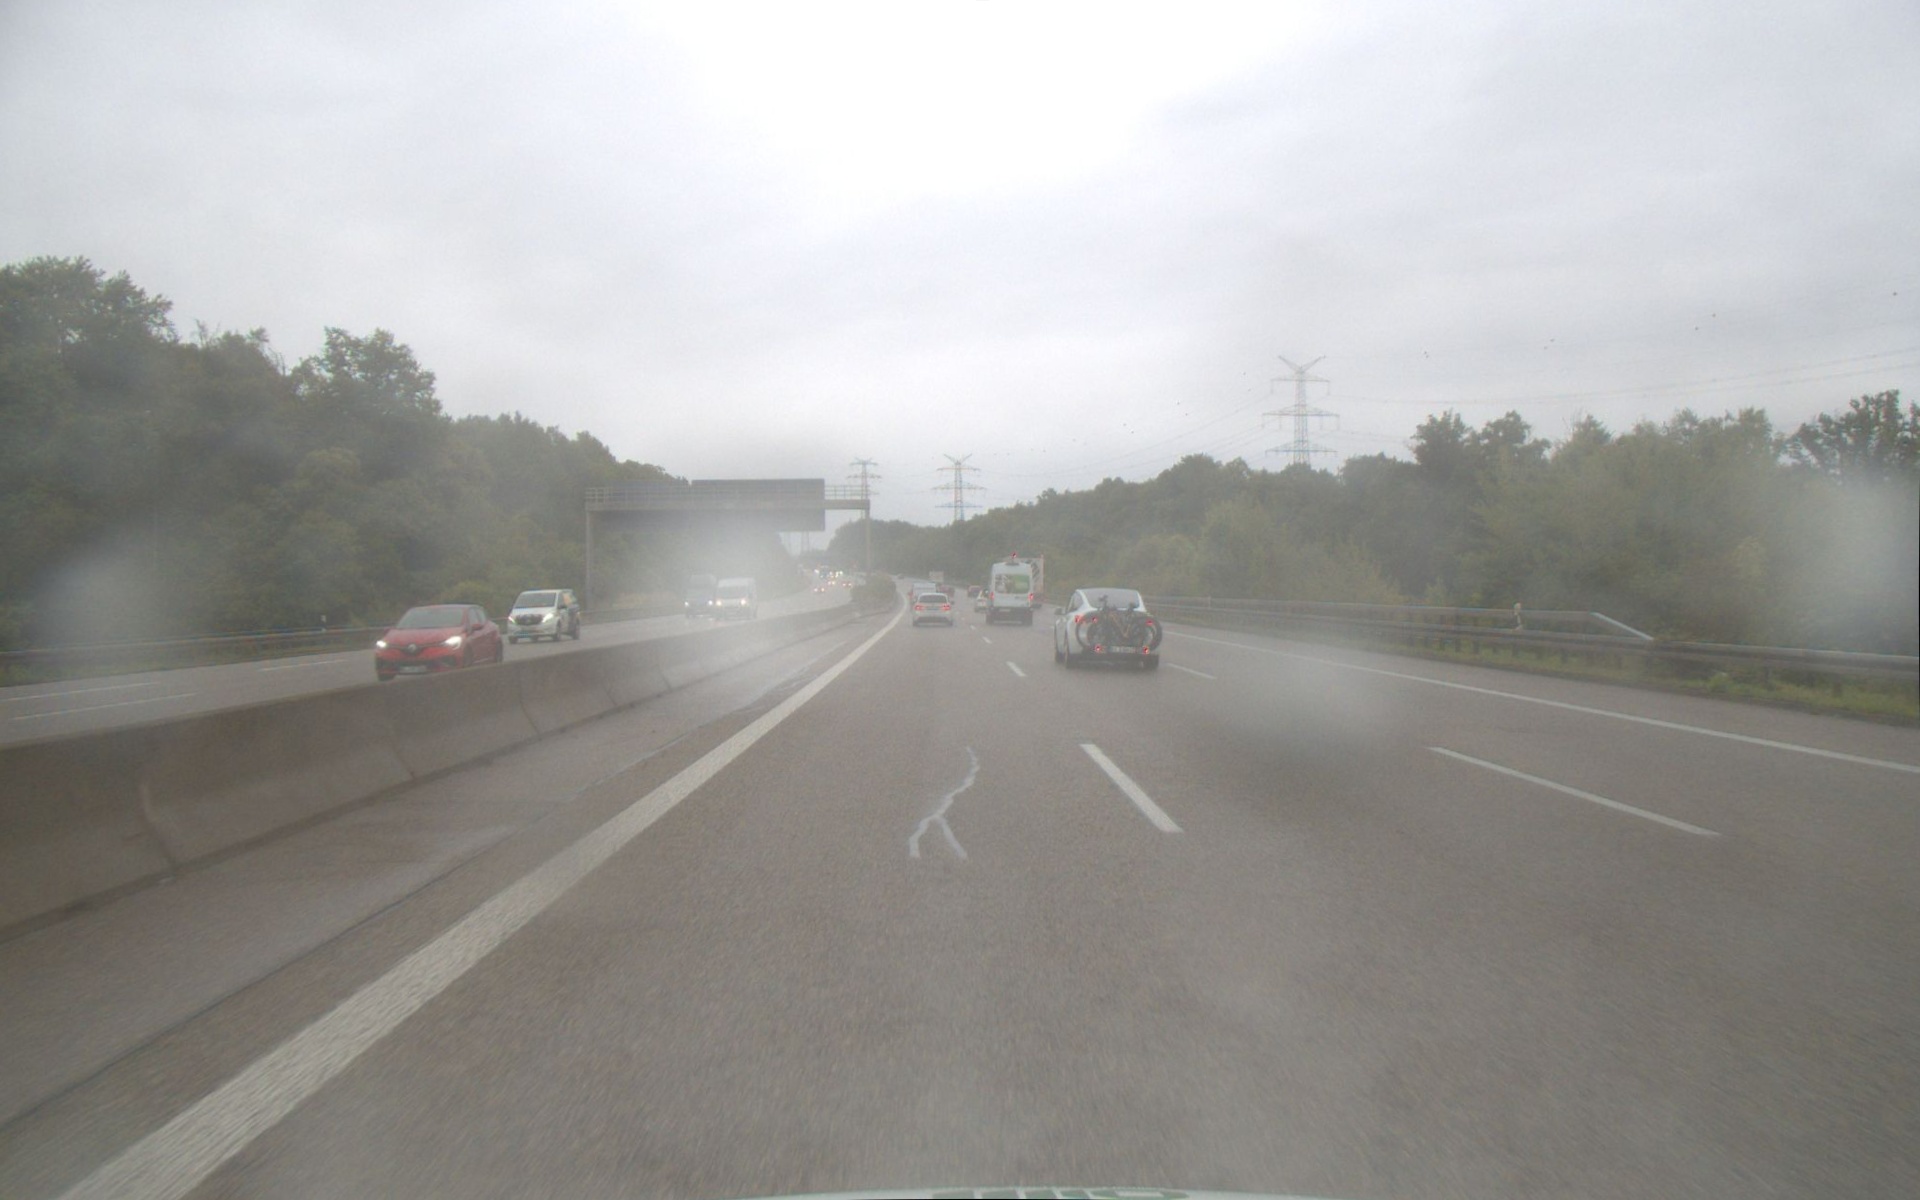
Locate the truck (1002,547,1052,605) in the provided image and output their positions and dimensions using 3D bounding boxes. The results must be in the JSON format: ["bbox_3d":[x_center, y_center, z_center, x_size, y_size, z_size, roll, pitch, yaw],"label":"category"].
[{"bbox_3d":[5.345,-1.885,133.830,3.529,4.408,13.200,0,0,0],"label":"truck"}]

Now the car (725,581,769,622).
[{"bbox_3d":[-12.864,0.076,100.201,2.232,2.372,6.169,-1,0,-4],"label":"car"}]

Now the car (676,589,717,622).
[{"bbox_3d":[-18.571,0.389,116.715,1.953,2.206,6.415,-1,0,-1],"label":"car"}]

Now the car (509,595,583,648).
[{"bbox_3d":[-15.846,0.797,63.528,1.706,1.937,4.529,-1,0,-1],"label":"car"}]

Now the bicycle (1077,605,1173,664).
[{"bbox_3d":[3.139,0.649,31.573,1.718,1.110,0.913,0,-1,-3],"label":"bicycle"}]

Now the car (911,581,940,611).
[{"bbox_3d":[-2.202,-0.251,106.074,1.809,1.803,3.999,1,0,-1],"label":"car"}]

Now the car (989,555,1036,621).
[{"bbox_3d":[2.388,-0.551,75.802,1.953,2.914,4.000,-1,0,0],"label":"car"}]

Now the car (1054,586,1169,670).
[{"bbox_3d":[3.073,0.514,34.537,1.823,1.595,4.963,1,1,-1],"label":"car"}]

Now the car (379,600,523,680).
[{"bbox_3d":[-10.120,0.752,33.174,1.601,1.436,4.365,-2,0,-2],"label":"car"}]

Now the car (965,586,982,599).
[{"bbox_3d":[1.704,-0.984,208.639,1.953,1.512,3.999,-2,0,-2],"label":"car"}]

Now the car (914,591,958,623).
[{"bbox_3d":[-1.074,0.295,71.590,1.829,1.310,3.999,-1,0,-1],"label":"car"}]

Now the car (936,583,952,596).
[{"bbox_3d":[-2.060,-1.380,213.424,1.953,1.601,3.999,-1,0,-1],"label":"car"}]

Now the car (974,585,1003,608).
[{"bbox_3d":[1.902,-0.224,109.649,1.819,1.447,4.000,0,1,-1],"label":"car"}]
